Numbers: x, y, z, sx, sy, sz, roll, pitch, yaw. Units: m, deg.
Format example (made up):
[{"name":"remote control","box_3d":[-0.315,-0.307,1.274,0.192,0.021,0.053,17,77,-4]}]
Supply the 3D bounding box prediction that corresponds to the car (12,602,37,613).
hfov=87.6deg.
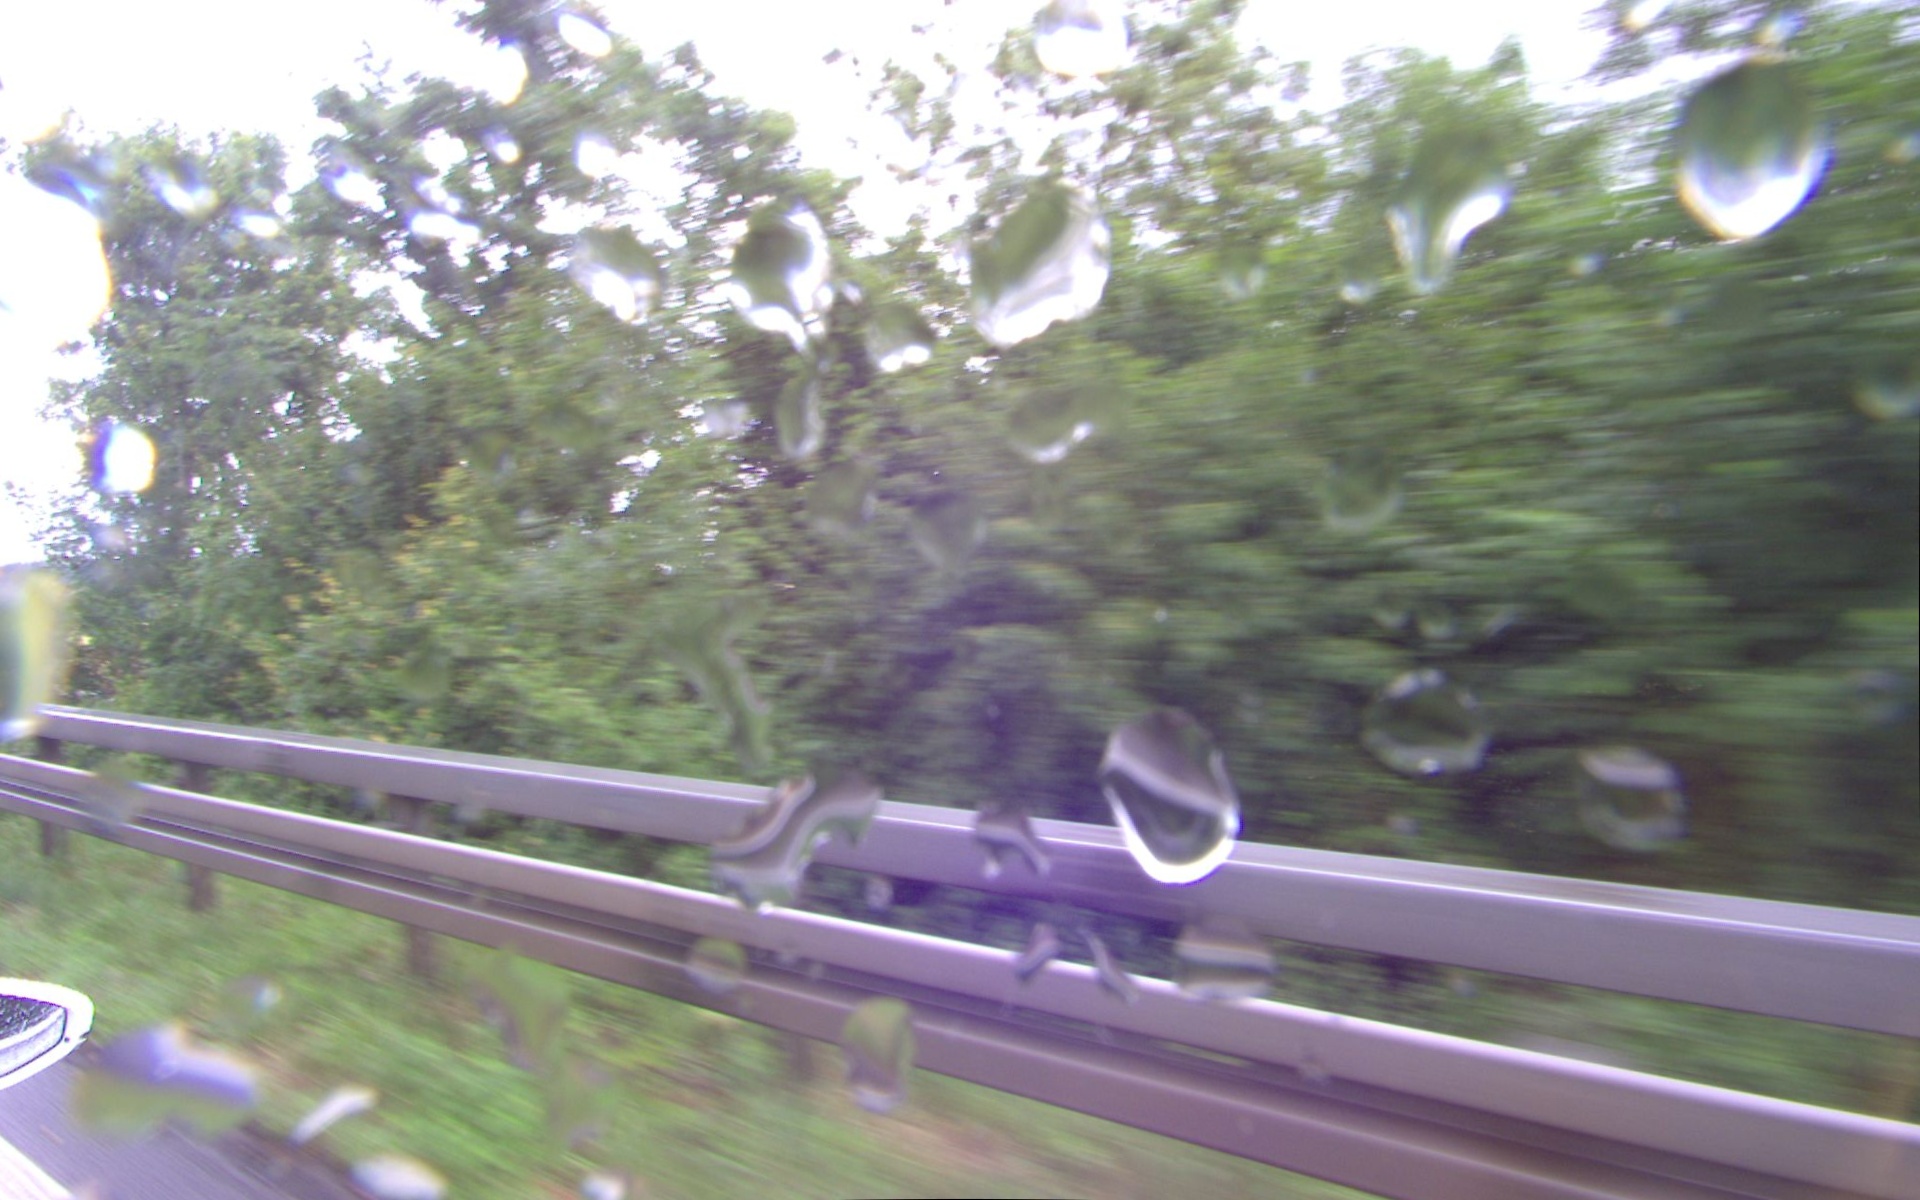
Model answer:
[{"name":"car","box_3d":[-175.268,1.364,187.694,2.113,2.039,3.989,0,-1,-22]}]
